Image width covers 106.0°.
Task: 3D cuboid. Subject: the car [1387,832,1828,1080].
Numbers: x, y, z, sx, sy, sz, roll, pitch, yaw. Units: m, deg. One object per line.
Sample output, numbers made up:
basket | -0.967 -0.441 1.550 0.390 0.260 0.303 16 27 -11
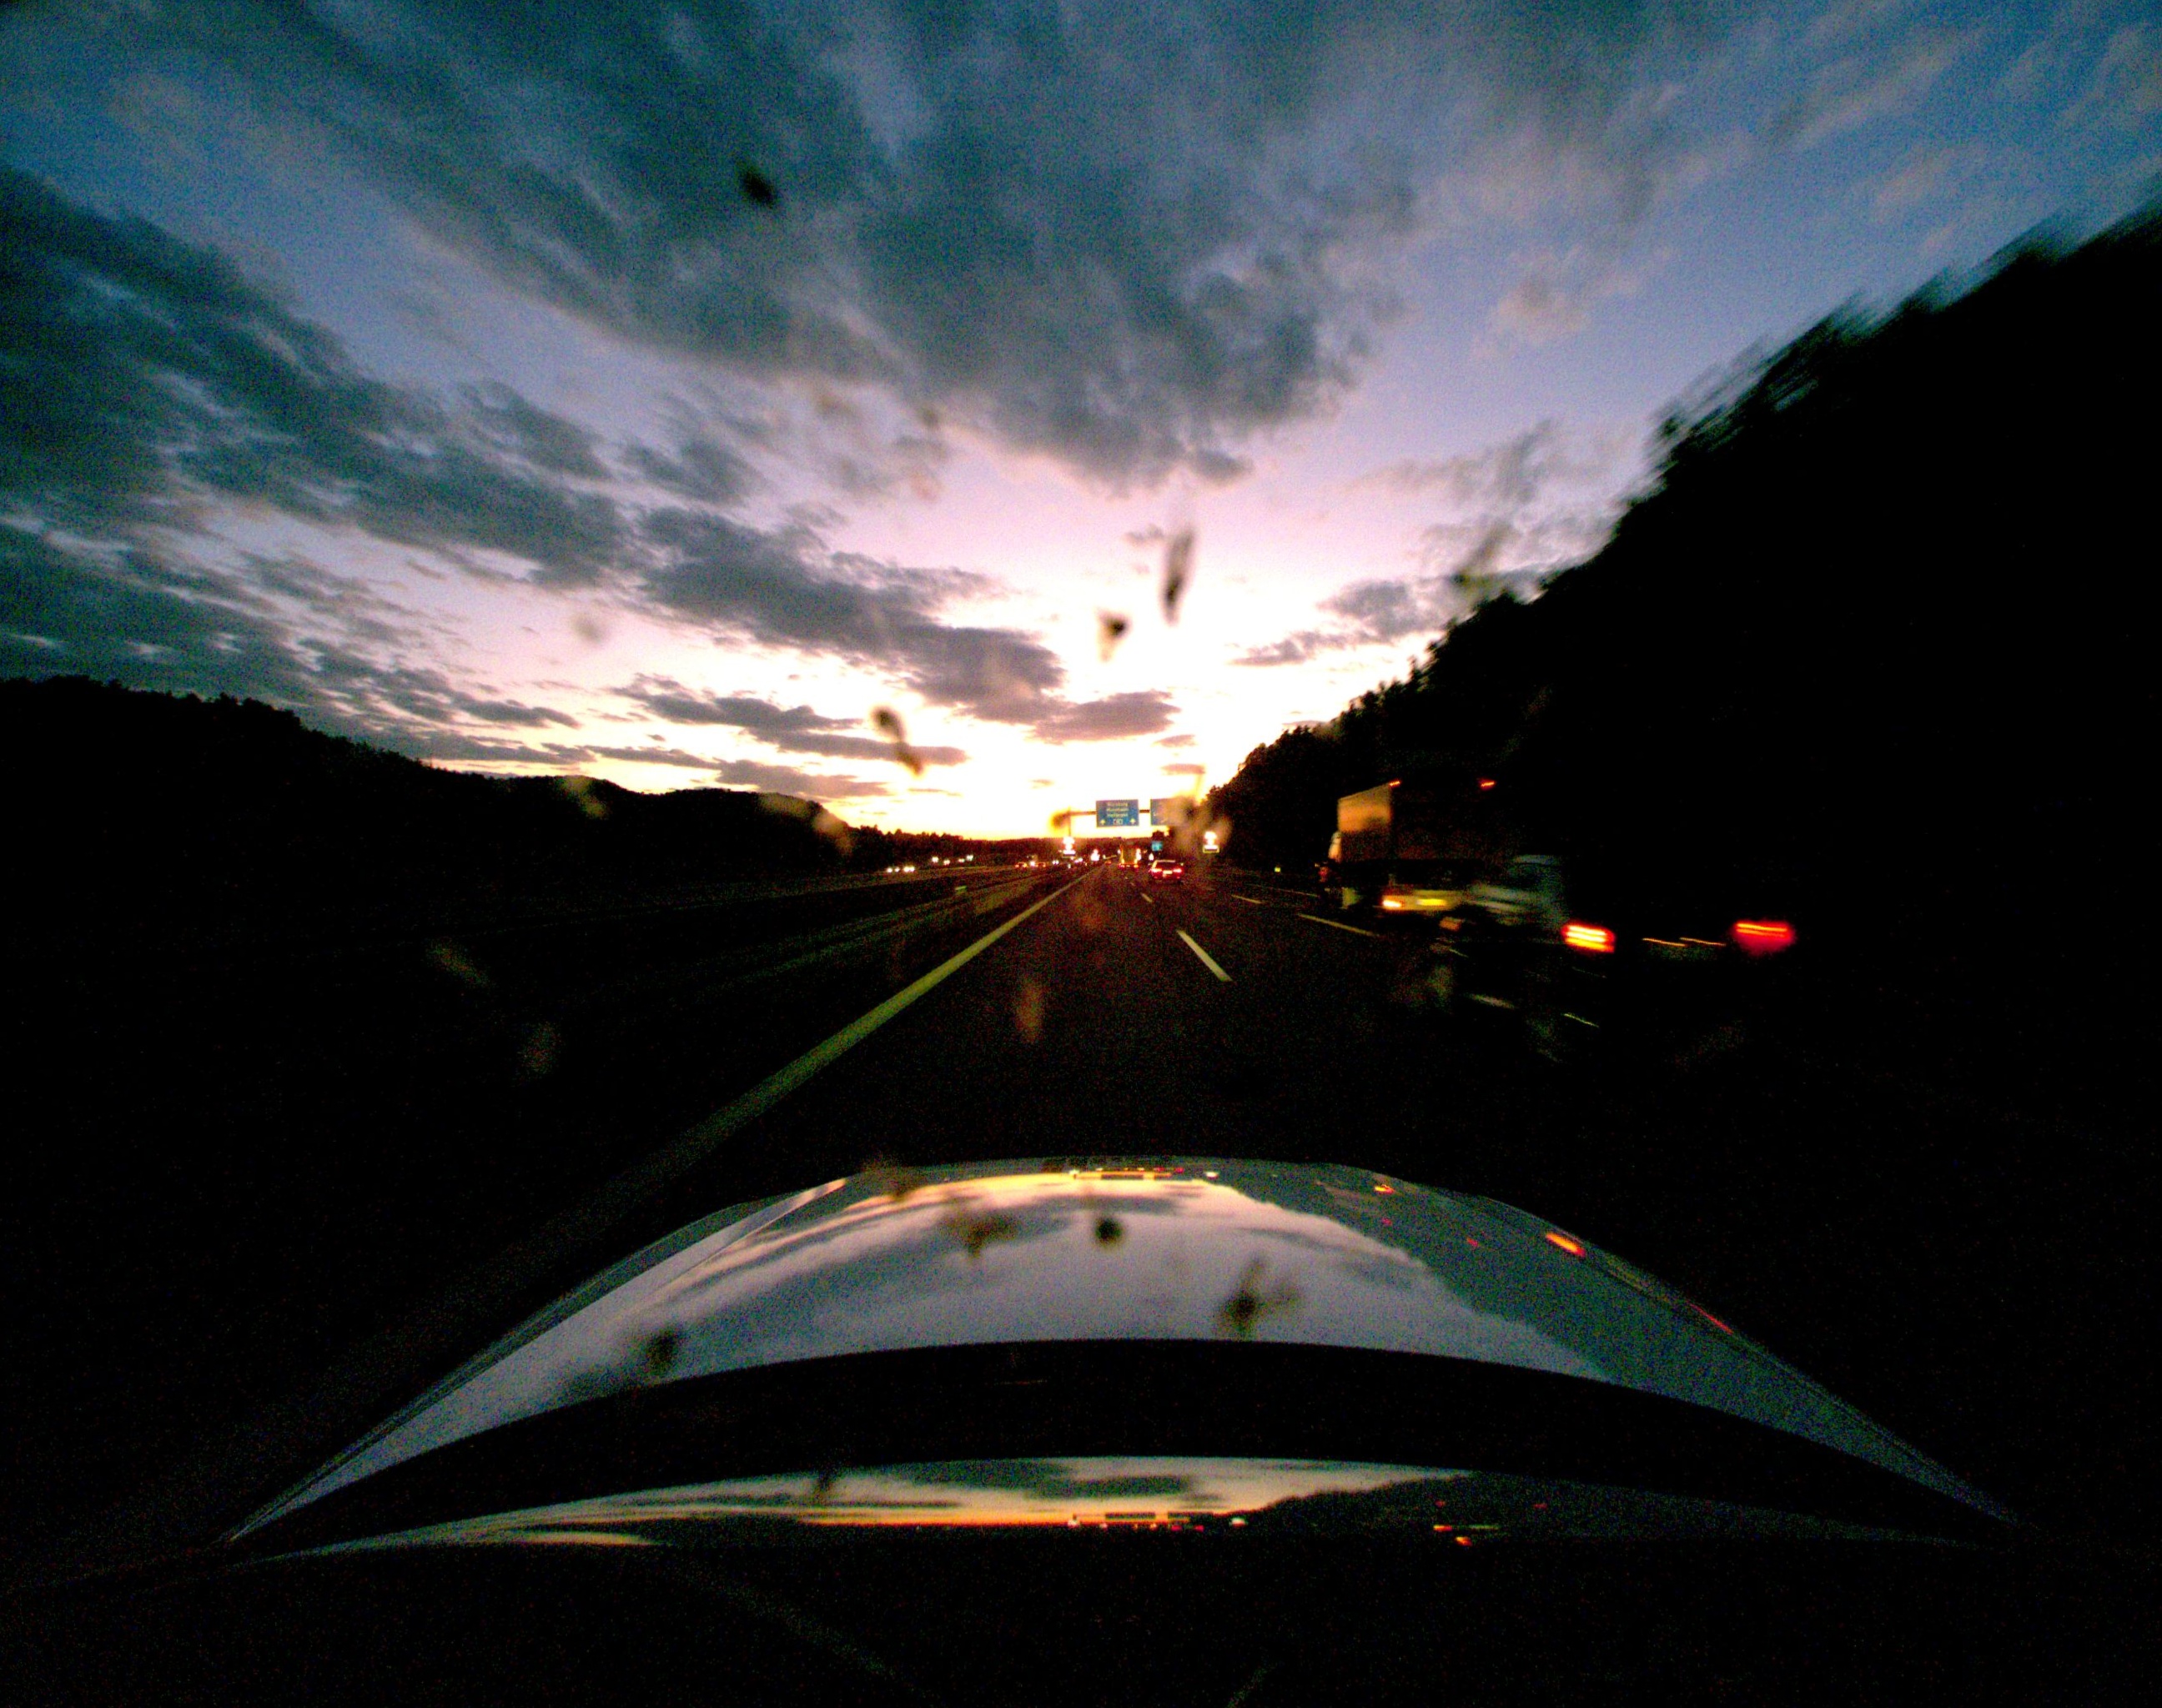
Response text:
car | 4.046 0.687 6.958 1.605 1.556 3.318 -2 -1 0

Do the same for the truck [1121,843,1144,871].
truck | 8.529 0.580 136.031 3.497 4.301 9.894 -2 -1 2

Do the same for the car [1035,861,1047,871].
car | -6.927 2.065 142.073 1.706 1.606 3.723 -2 -1 2

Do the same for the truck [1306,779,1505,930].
truck | 7.338 0.025 19.420 2.260 2.972 6.633 1 0 1

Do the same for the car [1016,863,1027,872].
car | -10.714 2.435 147.004 1.631 1.546 3.396 -2 -1 2

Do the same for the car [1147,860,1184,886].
car | 5.057 1.113 49.058 1.908 1.442 4.001 -2 -1 2
